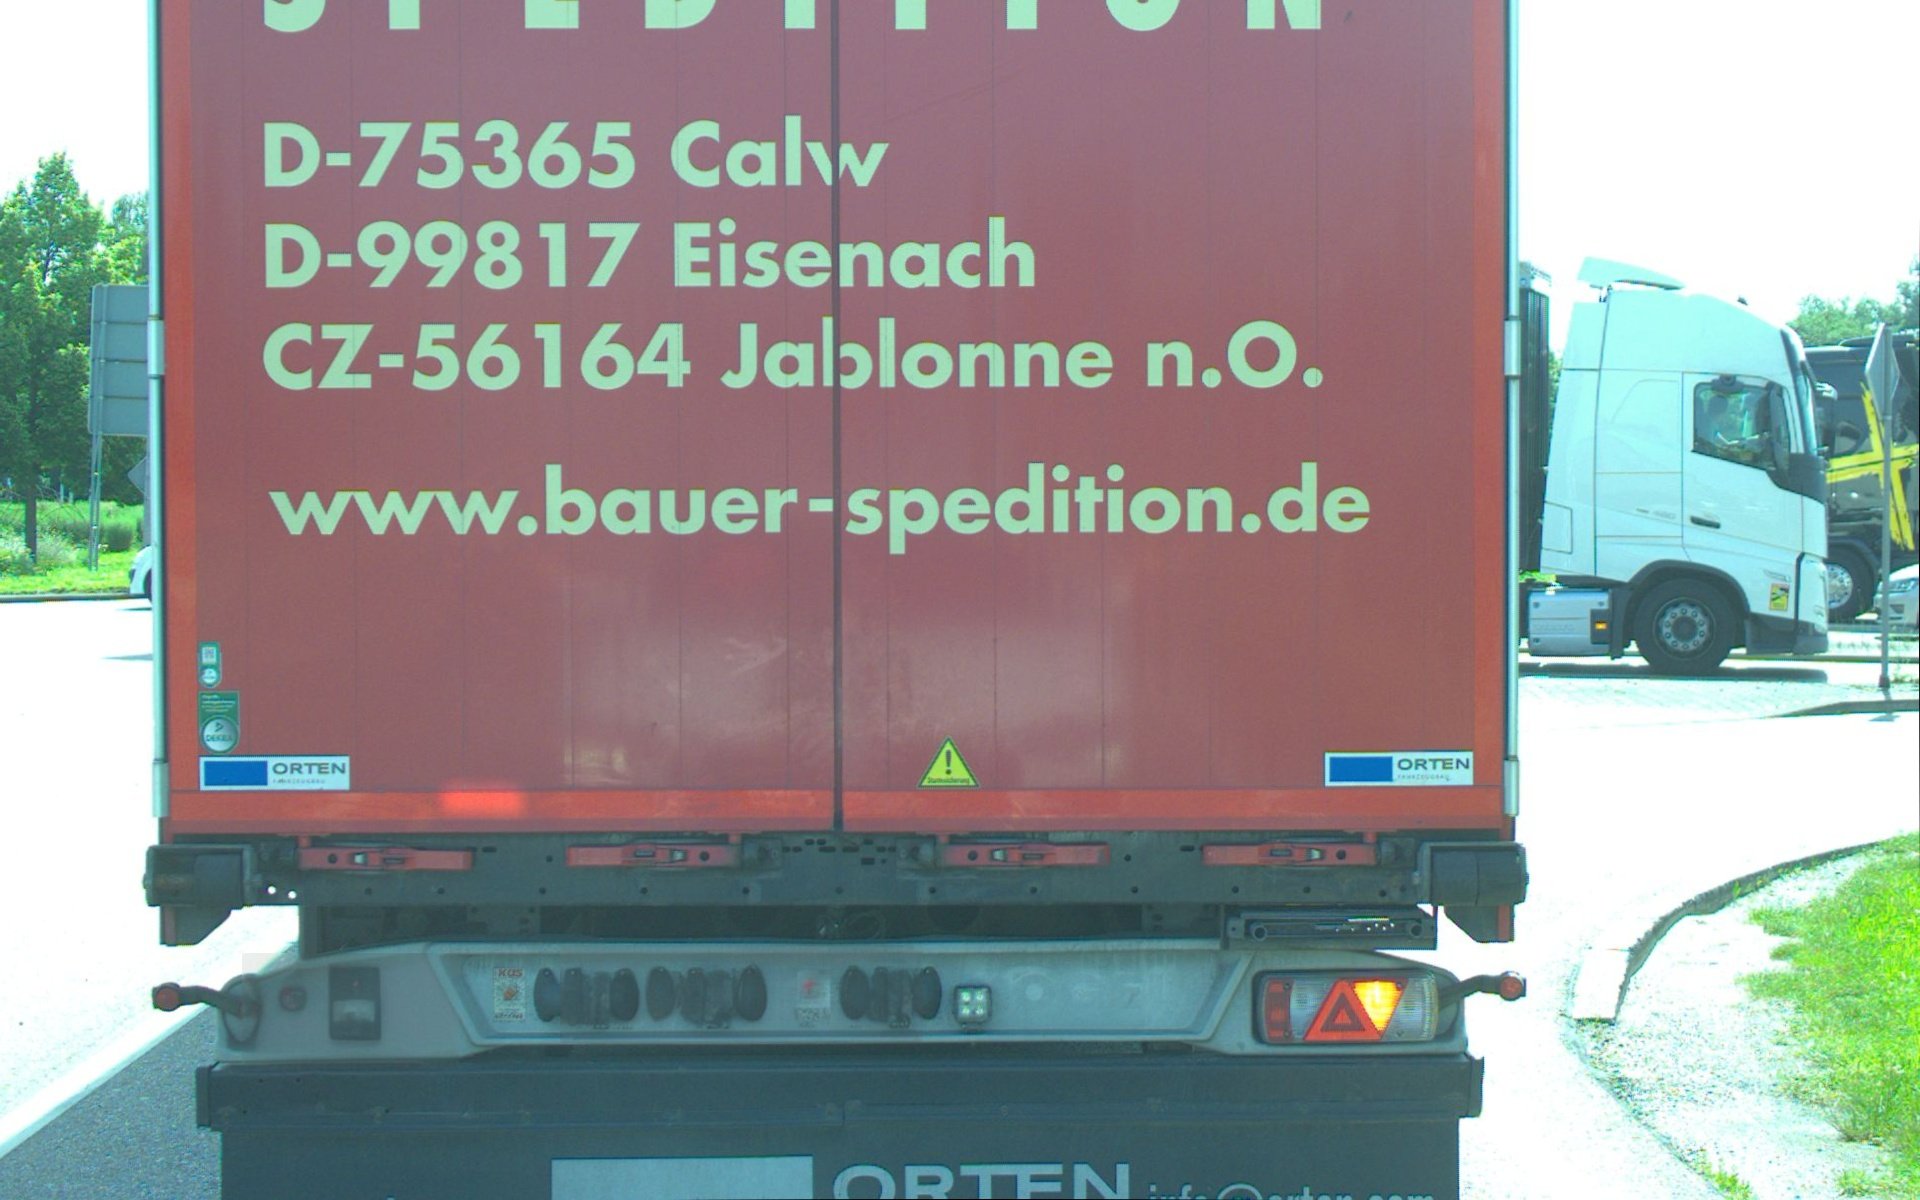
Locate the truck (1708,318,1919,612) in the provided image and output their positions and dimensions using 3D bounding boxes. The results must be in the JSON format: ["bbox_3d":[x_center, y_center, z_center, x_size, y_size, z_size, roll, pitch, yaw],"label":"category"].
[{"bbox_3d":[14.116,-1.851,47.725,6.936,3.980,3.025,1,2,18],"label":"truck"}]

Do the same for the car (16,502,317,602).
[{"bbox_3d":[-11.264,-0.683,48.838,3.851,1.352,1.675,1,0,18],"label":"car"}]

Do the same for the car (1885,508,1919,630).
[{"bbox_3d":[13.514,-0.357,42.452,3.998,1.486,1.537,1,1,14],"label":"car"}]

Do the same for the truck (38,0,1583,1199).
[{"bbox_3d":[-0.394,-0.804,14.422,2.734,3.911,16.627,0,1,-1],"label":"truck"}]

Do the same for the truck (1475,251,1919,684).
[{"bbox_3d":[8.070,-1.301,33.788,5.828,4.047,2.797,1,2,10],"label":"truck"}]

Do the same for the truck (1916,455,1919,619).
[{"bbox_3d":[20.231,-1.600,45.724,14.294,3.966,3.025,1,2,18],"label":"truck"}]

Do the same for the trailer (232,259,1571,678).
[{"bbox_3d":[-0.634,-1.451,35.965,13.691,4.047,2.797,1,2,12],"label":"trailer"}]
